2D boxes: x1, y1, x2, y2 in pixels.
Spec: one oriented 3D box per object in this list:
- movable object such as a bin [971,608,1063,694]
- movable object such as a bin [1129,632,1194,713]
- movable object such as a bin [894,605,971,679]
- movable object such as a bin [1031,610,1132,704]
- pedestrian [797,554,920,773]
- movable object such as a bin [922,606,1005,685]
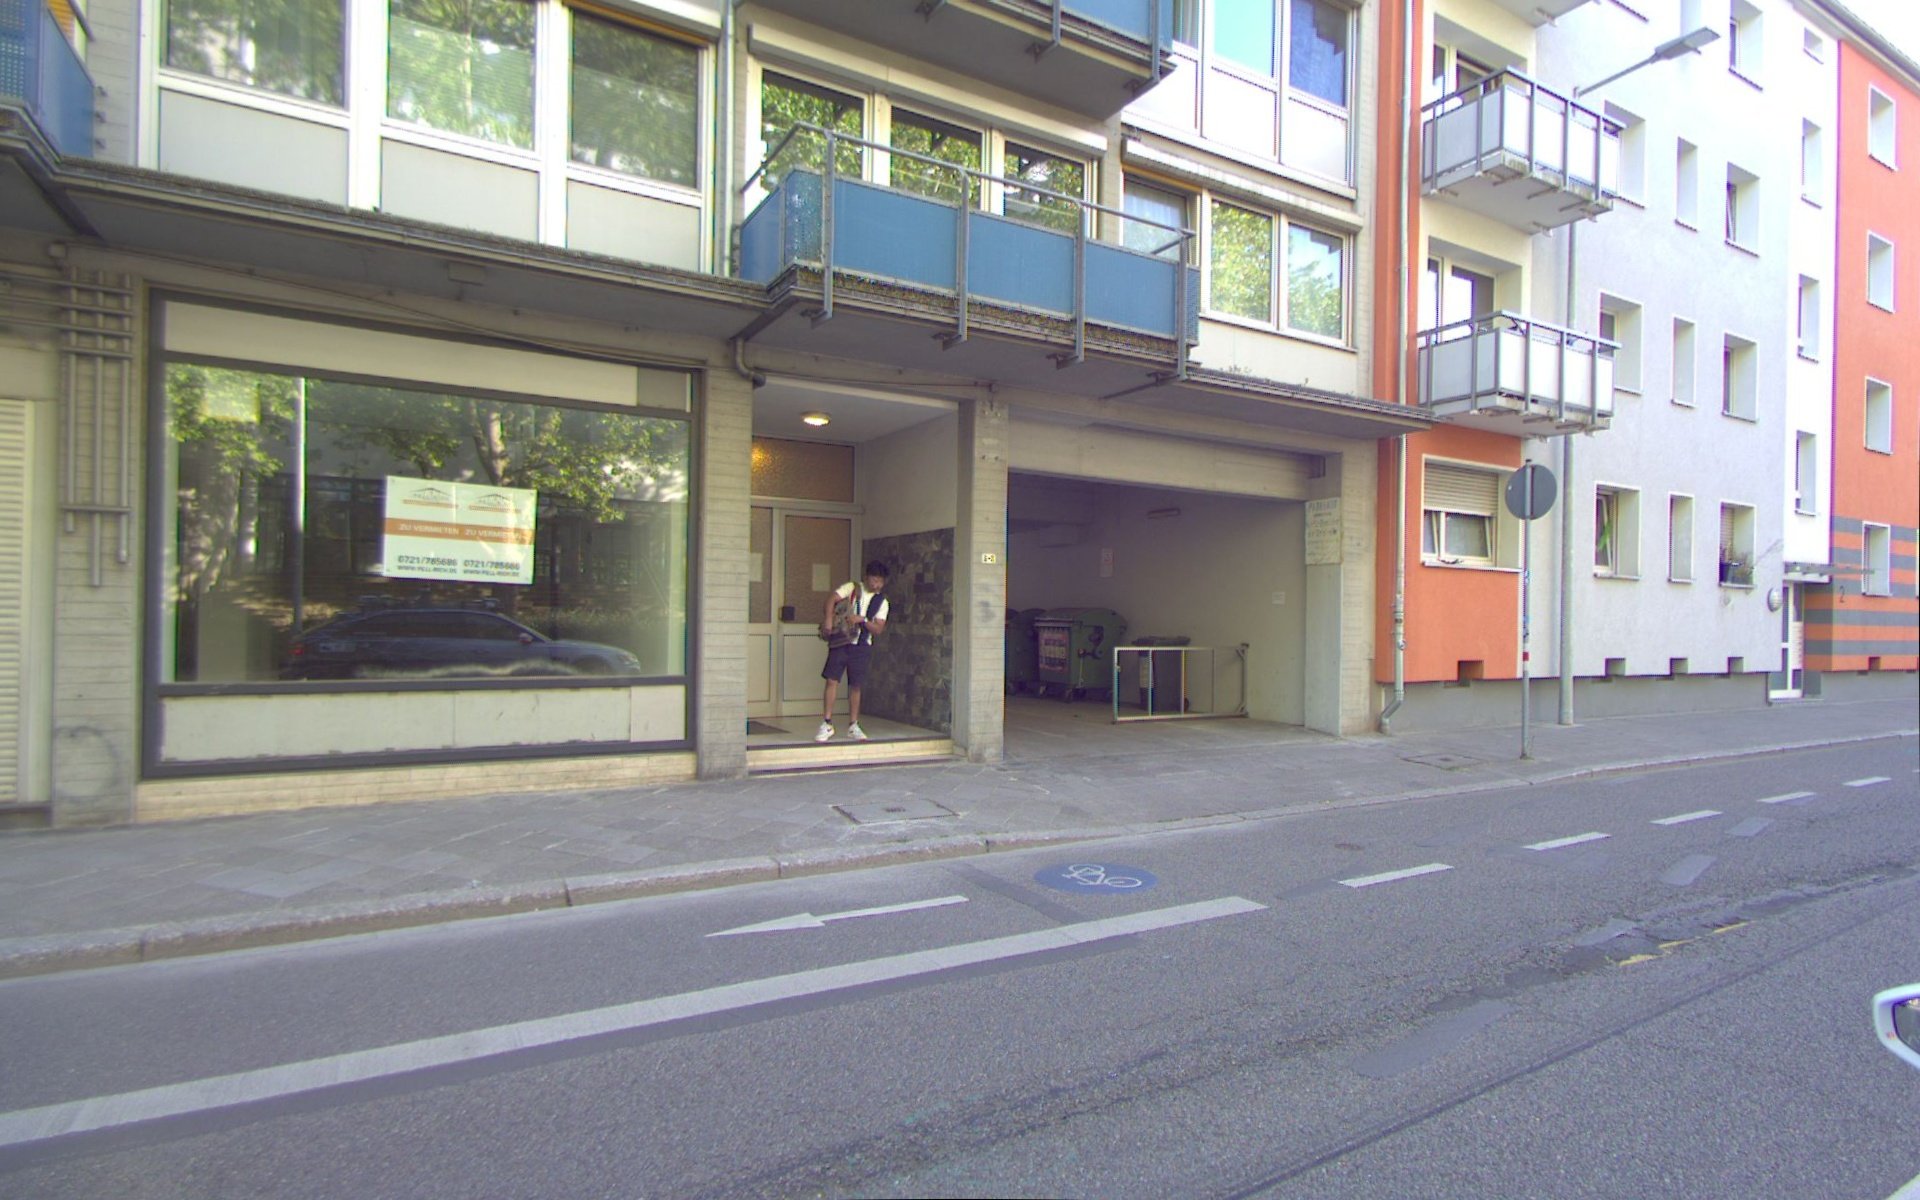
[{"bbox_3d":[0.956,0.852,17.134,1.066,1.384,1.255,2,0,-27],"label":"movable object such as a bin"},{"bbox_3d":[2.899,1.033,14.469,0.650,1.115,0.626,2,0,-27],"label":"movable object such as a bin"},{"bbox_3d":[-0.563,0.819,19.873,1.066,1.384,1.255,2,0,-27],"label":"movable object such as a bin"},{"bbox_3d":[1.898,0.875,15.820,1.066,1.384,1.192,2,0,-27],"label":"movable object such as a bin"},{"bbox_3d":[-0.939,0.560,9.262,0.882,1.902,0.703,2,0,-28],"label":"pedestrian"},{"bbox_3d":[0.046,0.832,18.703,1.066,1.384,1.255,2,0,-27],"label":"movable object such as a bin"}]
